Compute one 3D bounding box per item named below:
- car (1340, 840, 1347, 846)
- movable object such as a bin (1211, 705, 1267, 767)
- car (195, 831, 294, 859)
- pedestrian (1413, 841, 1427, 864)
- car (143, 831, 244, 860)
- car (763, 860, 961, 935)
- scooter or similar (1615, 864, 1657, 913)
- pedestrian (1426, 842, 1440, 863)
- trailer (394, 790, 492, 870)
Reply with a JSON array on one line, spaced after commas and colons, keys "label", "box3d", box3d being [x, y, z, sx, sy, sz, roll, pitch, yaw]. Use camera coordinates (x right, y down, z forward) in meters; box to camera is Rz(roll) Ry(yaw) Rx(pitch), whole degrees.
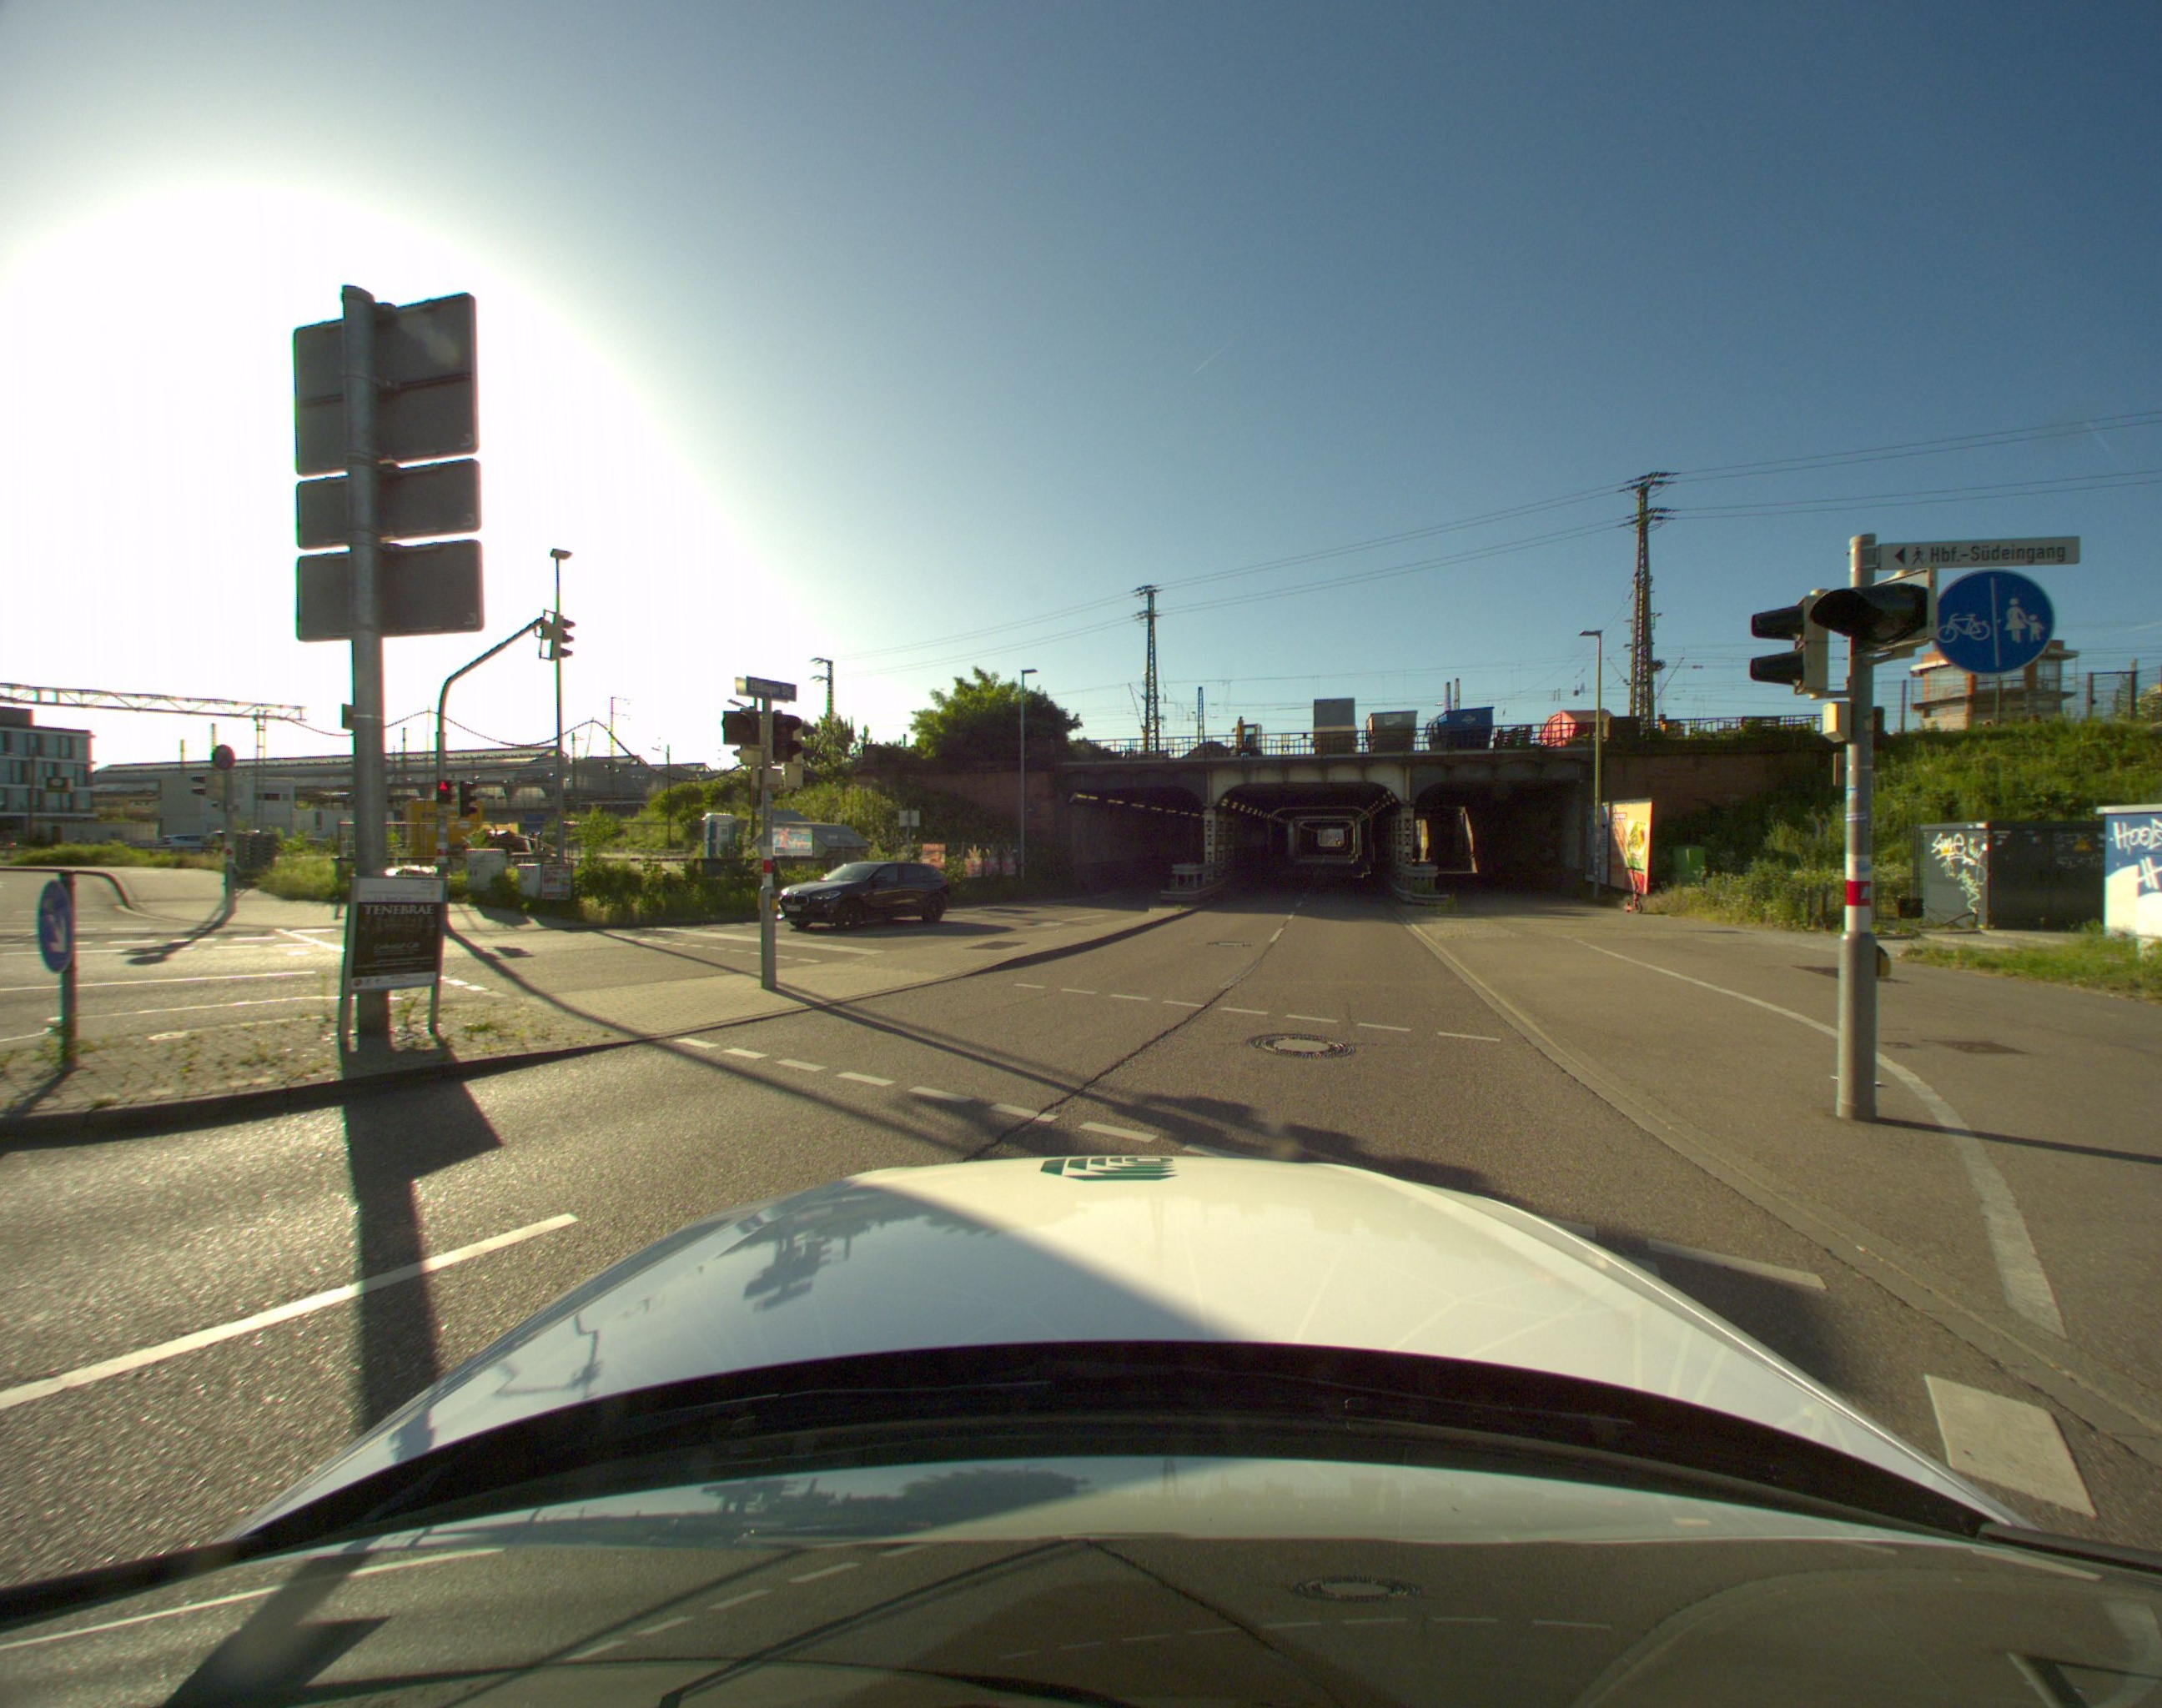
[{"label": "car", "box3d": [79.291, -3.448, 246.276, 1.978, 1.784, 4.018, 0, 1, 17]}, {"label": "movable object such as a bin", "box3d": [7.609, -5.523, 38.761, 1.977, 2.226, 4.853, 1, 0, 18]}, {"label": "car", "box3d": [-52.766, -0.529, 51.467, 1.595, 1.705, 4.024, 1, 0, 27]}, {"label": "pedestrian", "box3d": [28.089, -0.136, 67.487, 0.874, 1.835, 0.926, -2, 0, 14]}, {"label": "car", "box3d": [-56.742, -0.496, 52.148, 1.634, 1.788, 4.024, 1, 0, 27]}, {"label": "car", "box3d": [-5.017, 0.921, 19.283, 1.931, 1.518, 4.414, 0, 0, 31]}, {"label": "scooter or similar", "box3d": [14.344, 0.878, 21.070, 0.533, 1.197, 1.297, 1, 0, 18]}, {"label": "pedestrian", "box3d": [29.045, -0.108, 67.244, 0.909, 1.656, 0.890, -2, 0, 14]}, {"label": "trailer", "box3d": [-29.151, -1.002, 37.099, 3.022, 3.292, 6.588, 1, 0, -42]}]
